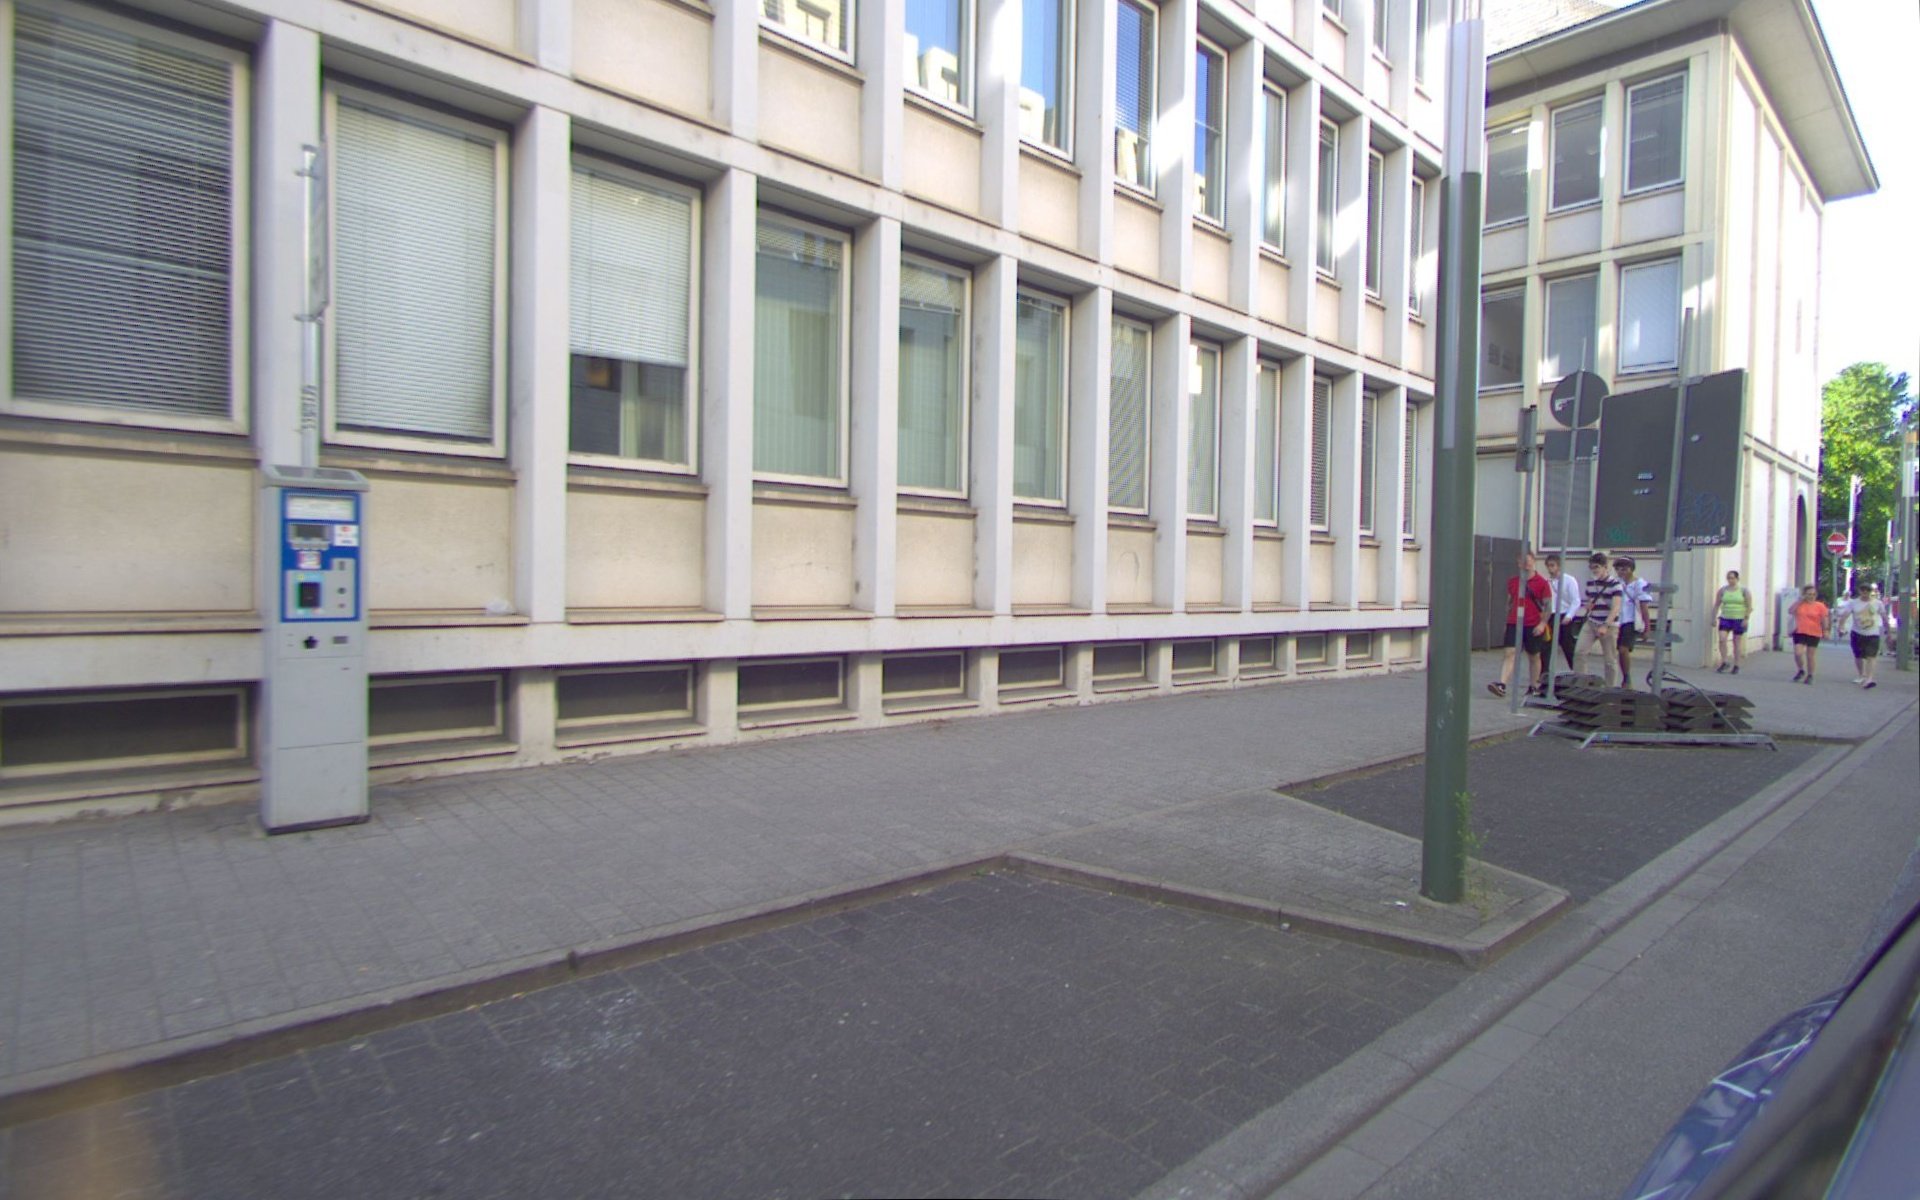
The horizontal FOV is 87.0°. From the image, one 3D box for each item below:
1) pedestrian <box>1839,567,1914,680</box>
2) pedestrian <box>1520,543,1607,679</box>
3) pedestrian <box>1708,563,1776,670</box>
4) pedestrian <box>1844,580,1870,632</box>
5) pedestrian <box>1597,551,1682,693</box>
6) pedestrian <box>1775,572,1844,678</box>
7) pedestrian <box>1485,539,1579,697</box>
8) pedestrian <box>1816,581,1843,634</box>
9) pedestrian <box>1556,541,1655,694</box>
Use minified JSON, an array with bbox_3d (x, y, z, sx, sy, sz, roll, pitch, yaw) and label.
[{"bbox_3d":[14.956,0.367,16.517,0.681,1.735,0.685,0,5,-40],"label":"pedestrian"},{"bbox_3d":[8.490,0.136,14.250,0.681,1.799,0.685,0,7,-40],"label":"pedestrian"},{"bbox_3d":[13.312,0.259,17.228,0.681,1.736,0.685,0,4,-40],"label":"pedestrian"},{"bbox_3d":[28.424,0.184,32.067,0.624,1.634,0.614,1,1,43],"label":"pedestrian"},{"bbox_3d":[9.012,0.273,13.419,0.681,1.800,0.685,0,3,-40],"label":"pedestrian"},{"bbox_3d":[13.860,0.383,16.523,0.681,1.656,0.685,0,3,-40],"label":"pedestrian"},{"bbox_3d":[6.855,0.193,12.137,0.583,1.799,0.685,0,5,-40],"label":"pedestrian"},{"bbox_3d":[27.461,0.220,31.971,0.624,1.662,0.614,1,1,43],"label":"pedestrian"},{"bbox_3d":[8.074,0.198,12.671,0.681,1.799,0.685,0,7,-40],"label":"pedestrian"}]
